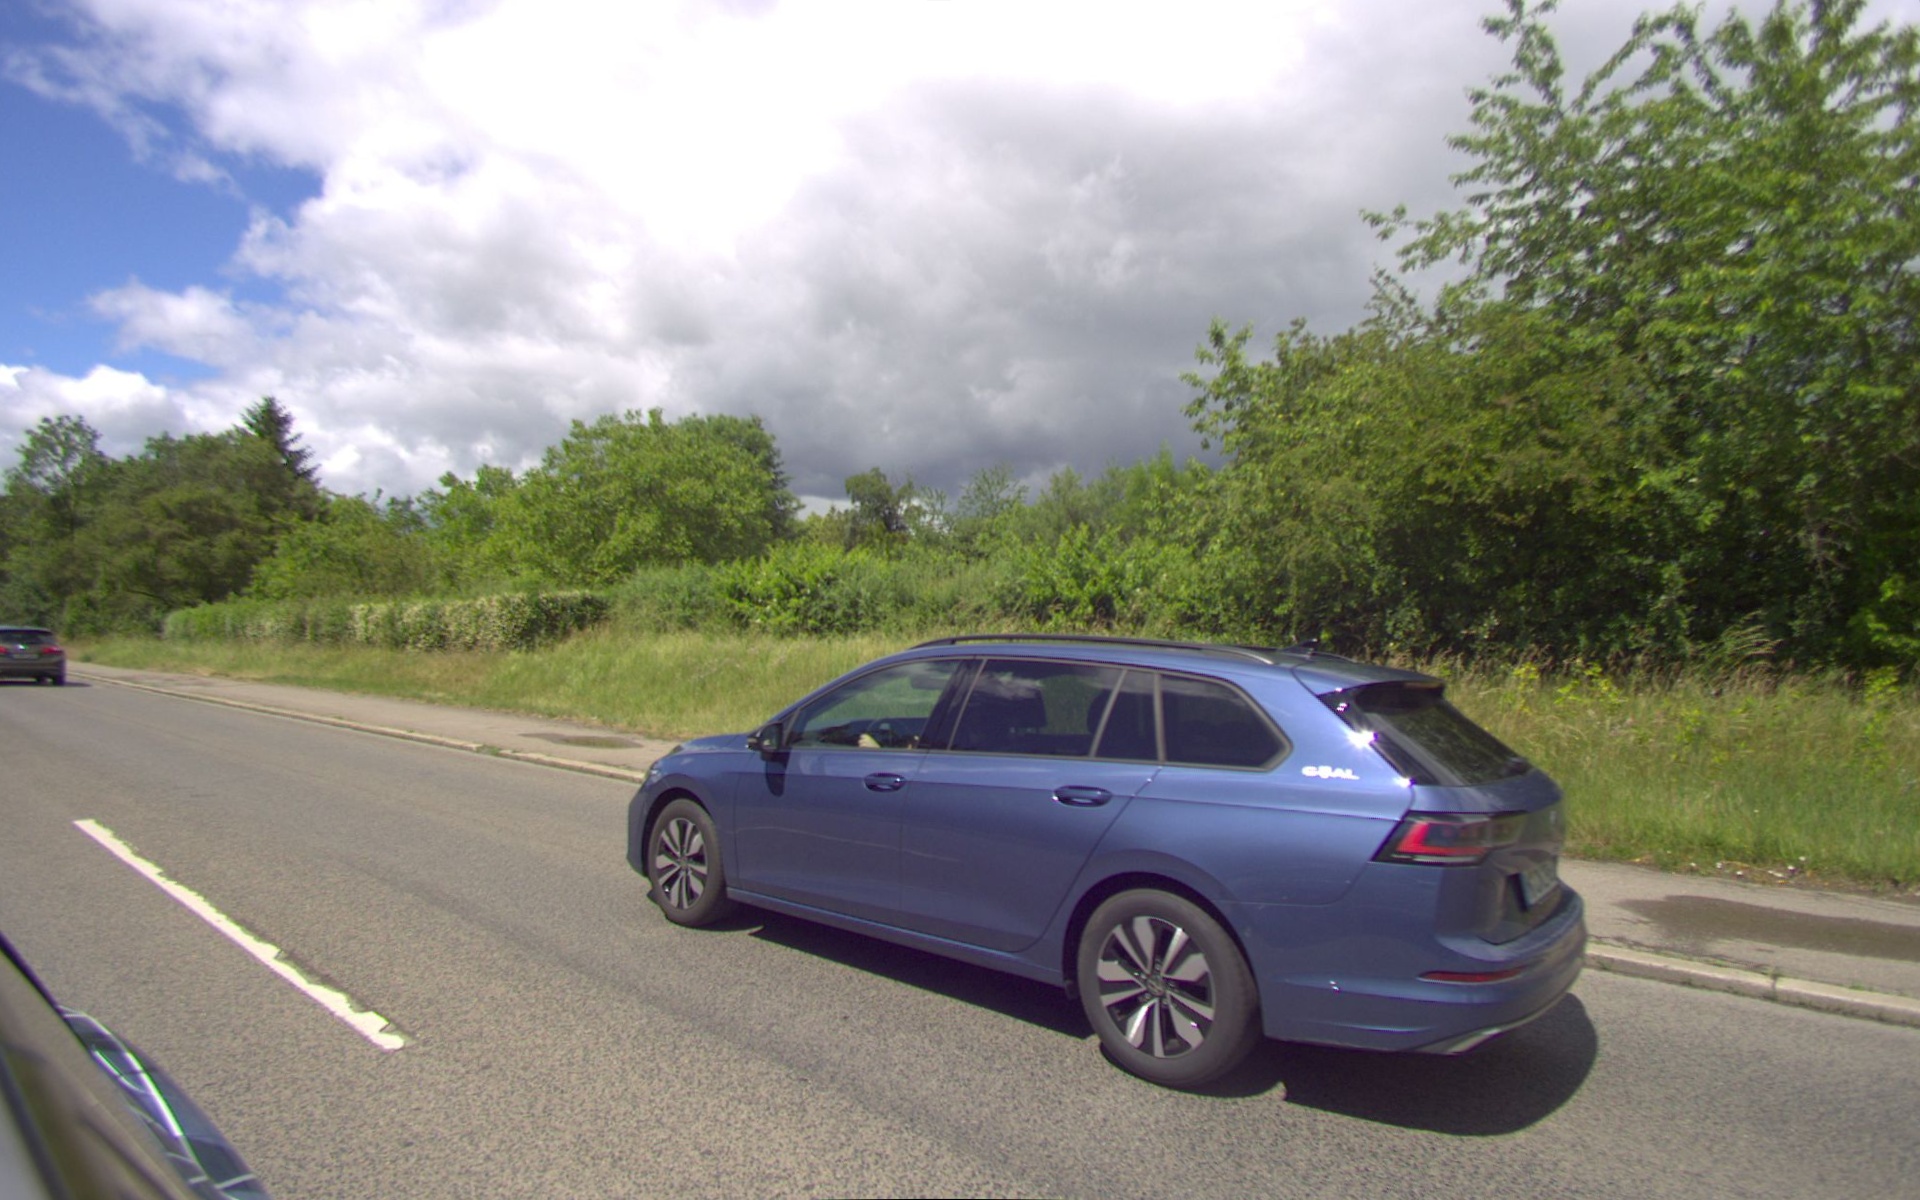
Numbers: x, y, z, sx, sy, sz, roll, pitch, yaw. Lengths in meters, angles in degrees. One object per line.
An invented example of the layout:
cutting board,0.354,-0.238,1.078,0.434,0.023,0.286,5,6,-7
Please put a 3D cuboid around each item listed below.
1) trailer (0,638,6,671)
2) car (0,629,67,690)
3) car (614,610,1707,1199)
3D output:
trailer,-36.548,1.955,37.058,3.914,1.209,1.872,-2,-5,41
car,-24.749,1.518,26.272,3.997,1.482,1.698,-2,-5,40
car,0.490,0.848,4.500,4.449,1.458,1.766,-2,-4,40
